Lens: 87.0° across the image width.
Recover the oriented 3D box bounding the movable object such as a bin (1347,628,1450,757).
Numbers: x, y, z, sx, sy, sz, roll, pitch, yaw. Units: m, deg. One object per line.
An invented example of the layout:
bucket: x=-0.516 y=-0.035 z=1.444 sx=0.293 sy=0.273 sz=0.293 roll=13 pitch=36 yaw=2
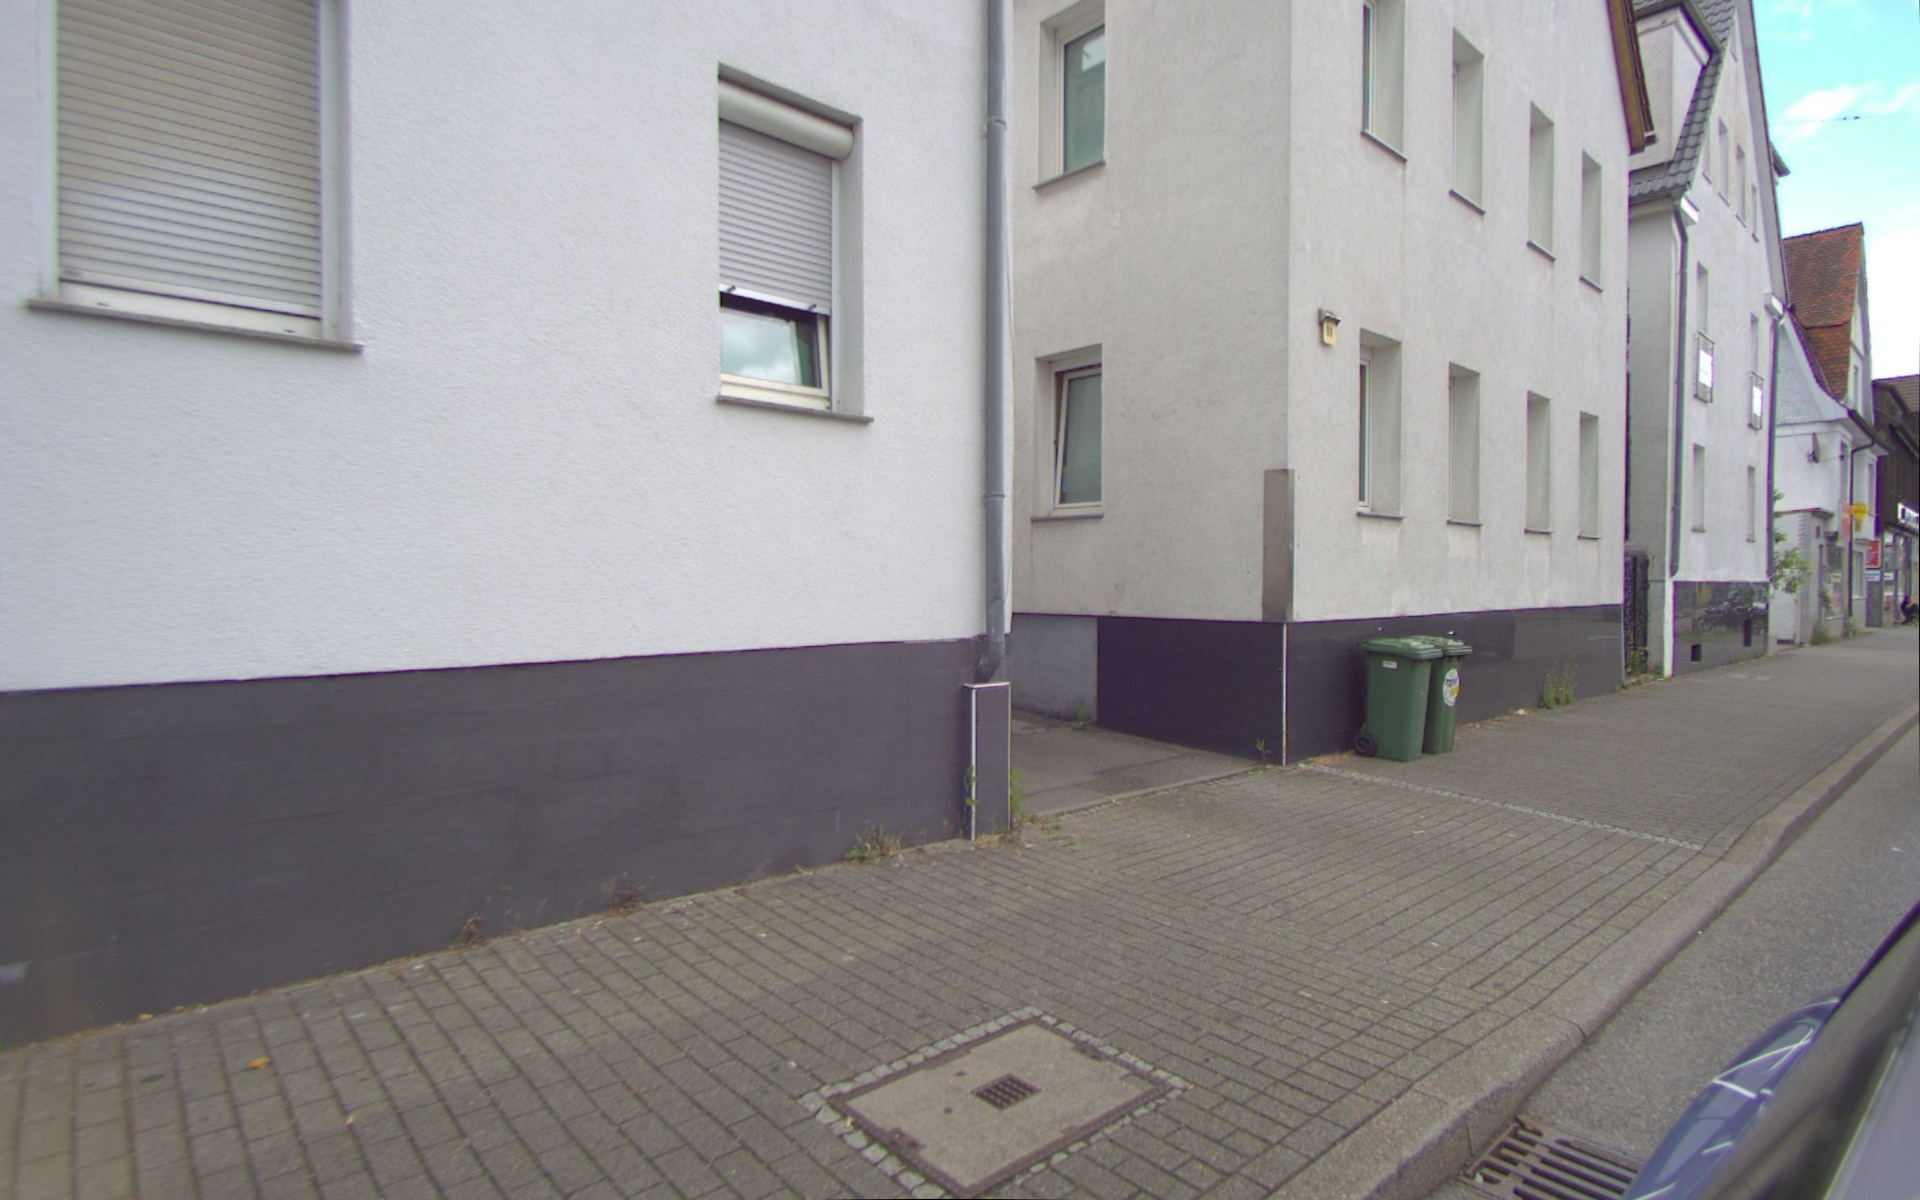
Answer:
movable object such as a bin: x=3.450 y=0.707 z=7.970 sx=0.510 sy=0.914 sz=0.565 roll=-1 pitch=2 yaw=-41

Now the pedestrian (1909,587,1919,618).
pedestrian: x=40.626 y=0.103 z=42.489 sx=0.653 sy=1.295 sz=0.985 roll=0 pitch=1 yaw=-29

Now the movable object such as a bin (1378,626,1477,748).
movable object such as a bin: x=3.867 y=0.698 z=8.378 sx=0.510 sy=0.914 sz=0.565 roll=-1 pitch=2 yaw=-41
